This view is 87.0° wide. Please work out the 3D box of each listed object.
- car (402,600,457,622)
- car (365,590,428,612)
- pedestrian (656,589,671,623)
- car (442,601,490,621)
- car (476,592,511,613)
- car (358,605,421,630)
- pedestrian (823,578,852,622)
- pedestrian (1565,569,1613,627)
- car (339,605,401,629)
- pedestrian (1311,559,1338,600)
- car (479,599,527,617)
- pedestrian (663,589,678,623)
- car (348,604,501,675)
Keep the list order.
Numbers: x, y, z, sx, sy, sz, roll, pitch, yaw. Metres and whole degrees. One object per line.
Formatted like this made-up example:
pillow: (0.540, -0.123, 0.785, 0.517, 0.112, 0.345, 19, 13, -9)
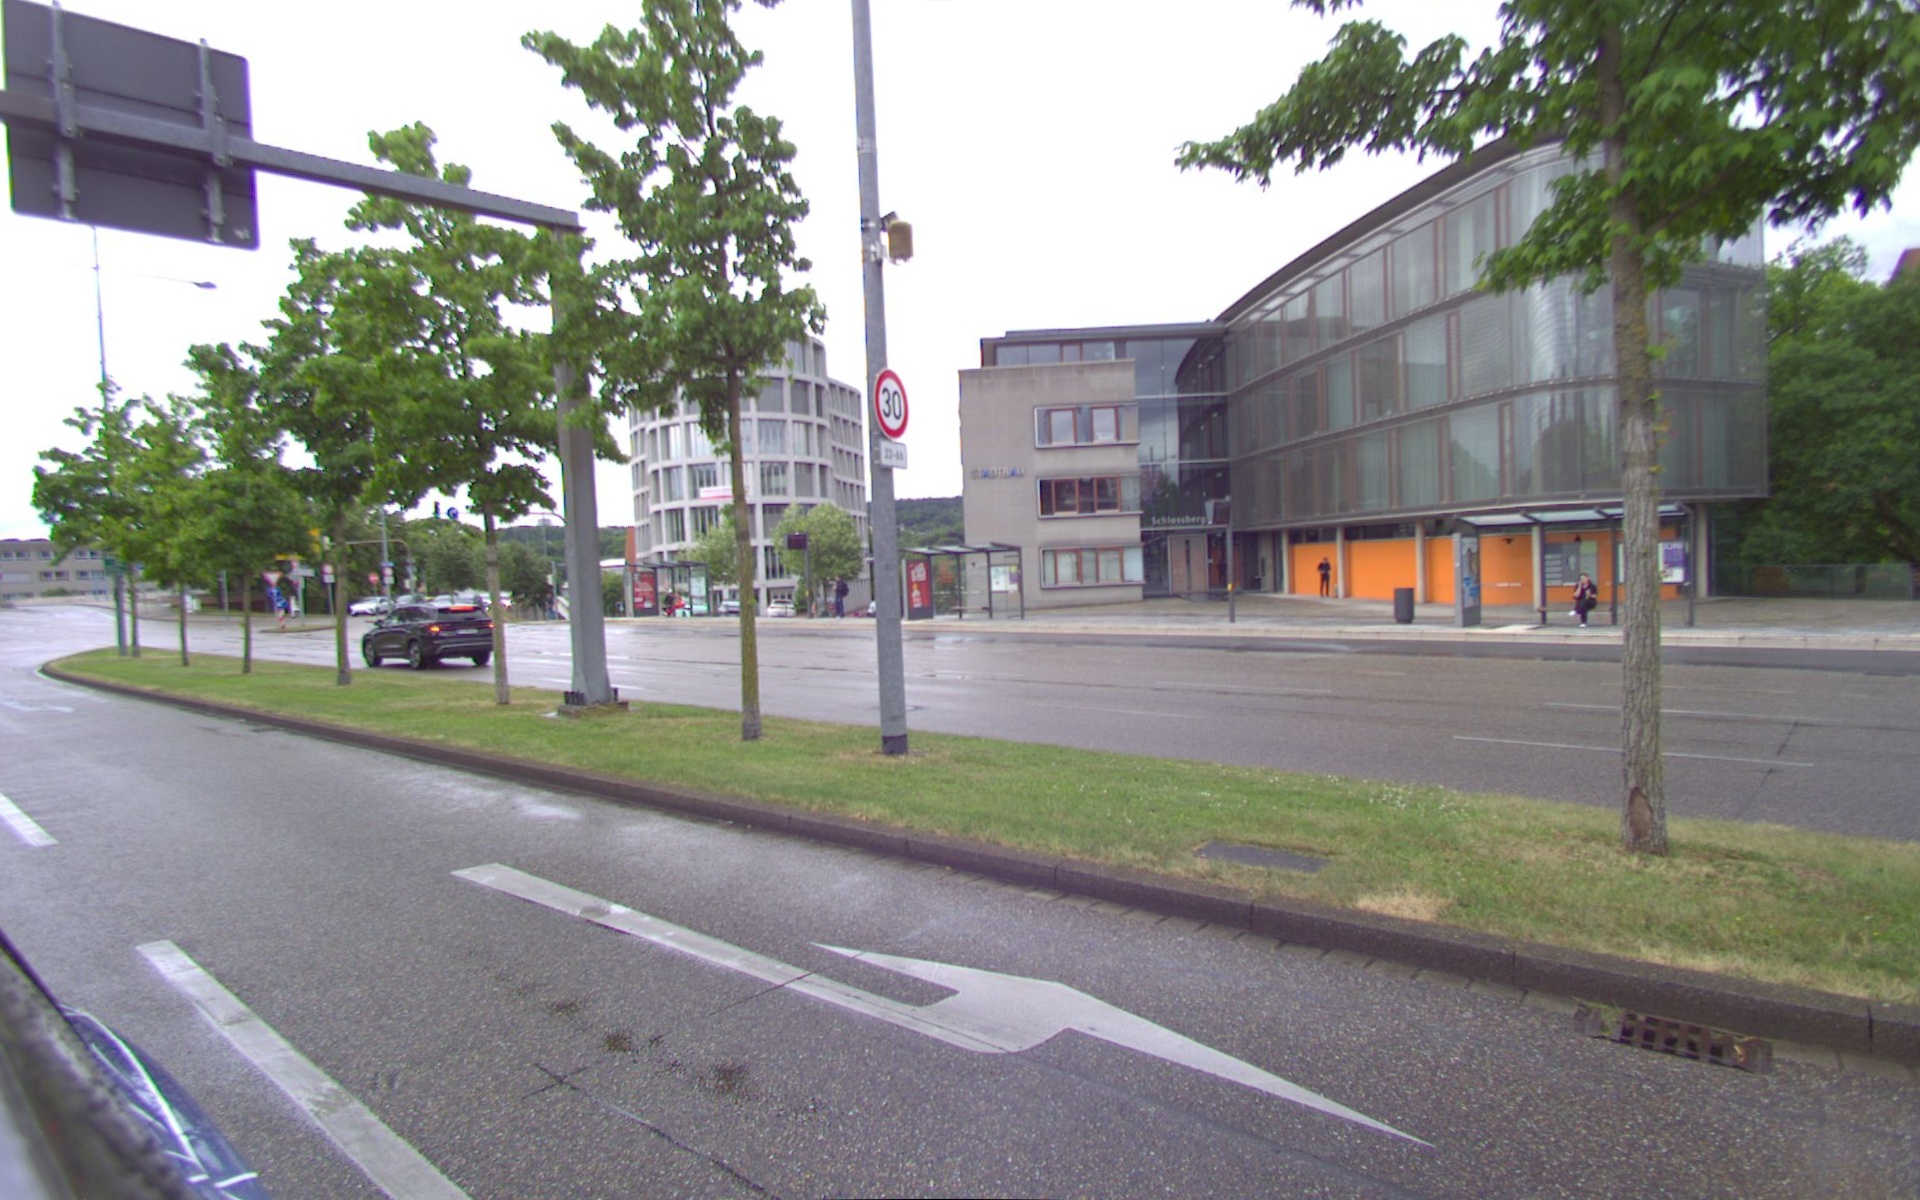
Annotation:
car: (-44.239, 0.895, 84.582, 2.164, 1.725, 4.919, -1, 0, -3)
car: (-56.170, 0.049, 100.964, 4.963, 2.029, 2.311, -1, 0, 0)
pedestrian: (-14.731, 0.305, 50.341, 0.501, 1.647, 0.497, -1, 0, 41)
car: (-45.397, 1.004, 93.087, 2.164, 1.725, 4.920, -1, 0, -3)
car: (-46.102, 0.286, 100.123, 1.969, 2.029, 4.005, -1, 0, -6)
car: (-43.613, 1.300, 77.499, 2.164, 1.725, 4.919, -1, 0, -3)
pedestrian: (-5.014, 0.013, 41.558, 0.964, 1.773, 0.783, -1, 0, 12)
pedestrian: (14.606, -0.047, 23.487, 0.790, 1.334, 0.793, -1, 0, 42)
car: (-46.522, 1.310, 79.969, 2.164, 1.725, 4.919, -1, 0, -2)
pedestrian: (15.071, -0.855, 41.885, 0.697, 1.666, 0.852, -1, 0, -6)
car: (-47.772, 0.825, 105.731, 4.897, 1.725, 2.174, -1, 0, 30)
pedestrian: (-14.560, 0.299, 50.909, 0.535, 1.647, 0.514, -1, 0, 41)
car: (-14.036, 0.980, 26.417, 4.594, 1.652, 1.804, -1, 0, 38)
